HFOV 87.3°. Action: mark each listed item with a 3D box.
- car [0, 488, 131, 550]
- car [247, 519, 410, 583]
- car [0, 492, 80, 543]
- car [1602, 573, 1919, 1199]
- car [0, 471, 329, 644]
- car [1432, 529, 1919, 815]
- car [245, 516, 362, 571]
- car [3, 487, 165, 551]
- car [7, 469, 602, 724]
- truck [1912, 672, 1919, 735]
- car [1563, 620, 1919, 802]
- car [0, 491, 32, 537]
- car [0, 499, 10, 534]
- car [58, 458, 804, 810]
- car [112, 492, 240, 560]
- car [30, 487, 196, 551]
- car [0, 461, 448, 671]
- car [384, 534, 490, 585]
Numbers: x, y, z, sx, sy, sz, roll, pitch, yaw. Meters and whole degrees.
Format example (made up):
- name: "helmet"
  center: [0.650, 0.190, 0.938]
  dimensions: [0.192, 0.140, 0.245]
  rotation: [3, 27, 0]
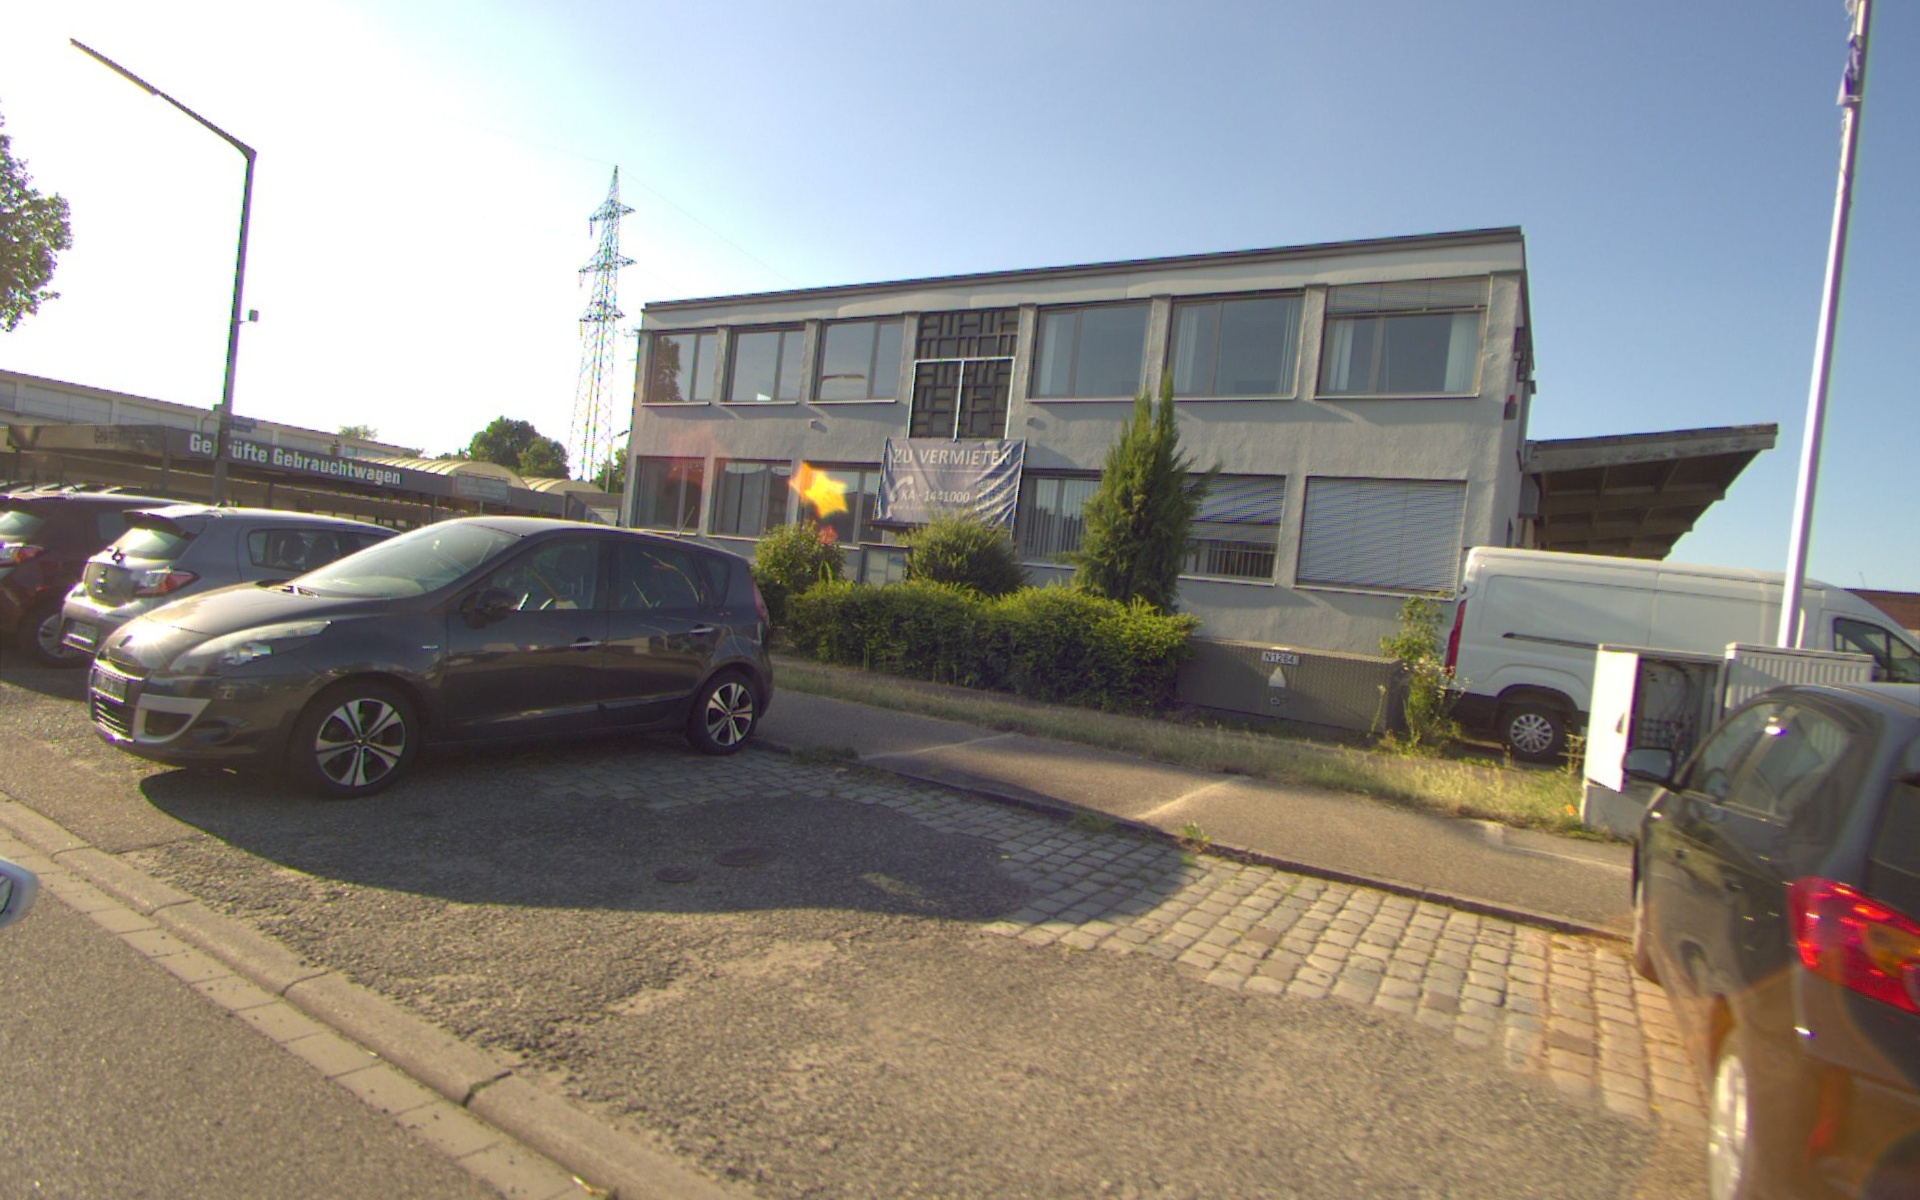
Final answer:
- name: "car"
  center: [-34.458, -3.073, 38.273]
  dimensions: [1.966, 1.720, 3.995]
  rotation: [6, -2, 30]
- name: "car"
  center: [-20.495, -1.574, 32.826]
  dimensions: [1.966, 1.624, 3.994]
  rotation: [3, -2, 29]
- name: "car"
  center: [-39.369, -3.537, 41.584]
  dimensions: [1.966, 1.720, 3.995]
  rotation: [6, -2, 30]
- name: "car"
  center: [3.498, 0.908, 3.417]
  dimensions: [1.888, 1.644, 4.251]
  rotation: [6, 1, 30]
- name: "car"
  center: [-9.719, -0.465, 10.958]
  dimensions: [1.723, 1.695, 4.528]
  rotation: [6, 2, 28]
- name: "car"
  center: [8.989, 0.784, 11.612]
  dimensions: [6.035, 2.656, 1.997]
  rotation: [6, -1, 31]
- name: "car"
  center: [-24.271, -2.090, 37.190]
  dimensions: [3.933, 1.621, 1.996]
  rotation: [5, -1, 30]
- name: "car"
  center: [-32.159, -2.934, 37.057]
  dimensions: [1.966, 1.653, 3.995]
  rotation: [6, -2, 30]
- name: "car"
  center: [-5.401, -0.065, 8.825]
  dimensions: [1.771, 1.675, 3.985]
  rotation: [6, 3, 32]
- name: "truck"
  center: [36.454, 3.860, 36.601]
  dimensions: [1.661, 2.436, 4.472]
  rotation: [6, -2, 33]
- name: "car"
  center: [10.510, 1.423, 13.558]
  dimensions: [3.934, 1.820, 1.997]
  rotation: [6, -1, 31]
- name: "car"
  center: [-43.819, -4.038, 44.163]
  dimensions: [1.966, 1.854, 3.995]
  rotation: [6, -2, 30]
- name: "car"
  center: [-45.990, -4.103, 45.435]
  dimensions: [1.966, 1.564, 3.995]
  rotation: [6, -2, 30]
- name: "car"
  center: [-3.251, 0.188, 6.837]
  dimensions: [1.971, 1.634, 3.981]
  rotation: [5, 1, 38]
- name: "car"
  center: [-26.381, -2.424, 34.027]
  dimensions: [1.908, 1.791, 3.991]
  rotation: [4, -2, -15]
- name: "car"
  center: [-30.061, -2.846, 35.818]
  dimensions: [1.966, 1.587, 3.995]
  rotation: [6, -2, 30]
- name: "car"
  center: [-7.530, -0.314, 10.046]
  dimensions: [1.713, 1.674, 3.989]
  rotation: [6, 2, 29]
- name: "car"
  center: [-21.649, -1.696, 41.660]
  dimensions: [3.933, 1.755, 1.996]
  rotation: [4, -1, 30]
